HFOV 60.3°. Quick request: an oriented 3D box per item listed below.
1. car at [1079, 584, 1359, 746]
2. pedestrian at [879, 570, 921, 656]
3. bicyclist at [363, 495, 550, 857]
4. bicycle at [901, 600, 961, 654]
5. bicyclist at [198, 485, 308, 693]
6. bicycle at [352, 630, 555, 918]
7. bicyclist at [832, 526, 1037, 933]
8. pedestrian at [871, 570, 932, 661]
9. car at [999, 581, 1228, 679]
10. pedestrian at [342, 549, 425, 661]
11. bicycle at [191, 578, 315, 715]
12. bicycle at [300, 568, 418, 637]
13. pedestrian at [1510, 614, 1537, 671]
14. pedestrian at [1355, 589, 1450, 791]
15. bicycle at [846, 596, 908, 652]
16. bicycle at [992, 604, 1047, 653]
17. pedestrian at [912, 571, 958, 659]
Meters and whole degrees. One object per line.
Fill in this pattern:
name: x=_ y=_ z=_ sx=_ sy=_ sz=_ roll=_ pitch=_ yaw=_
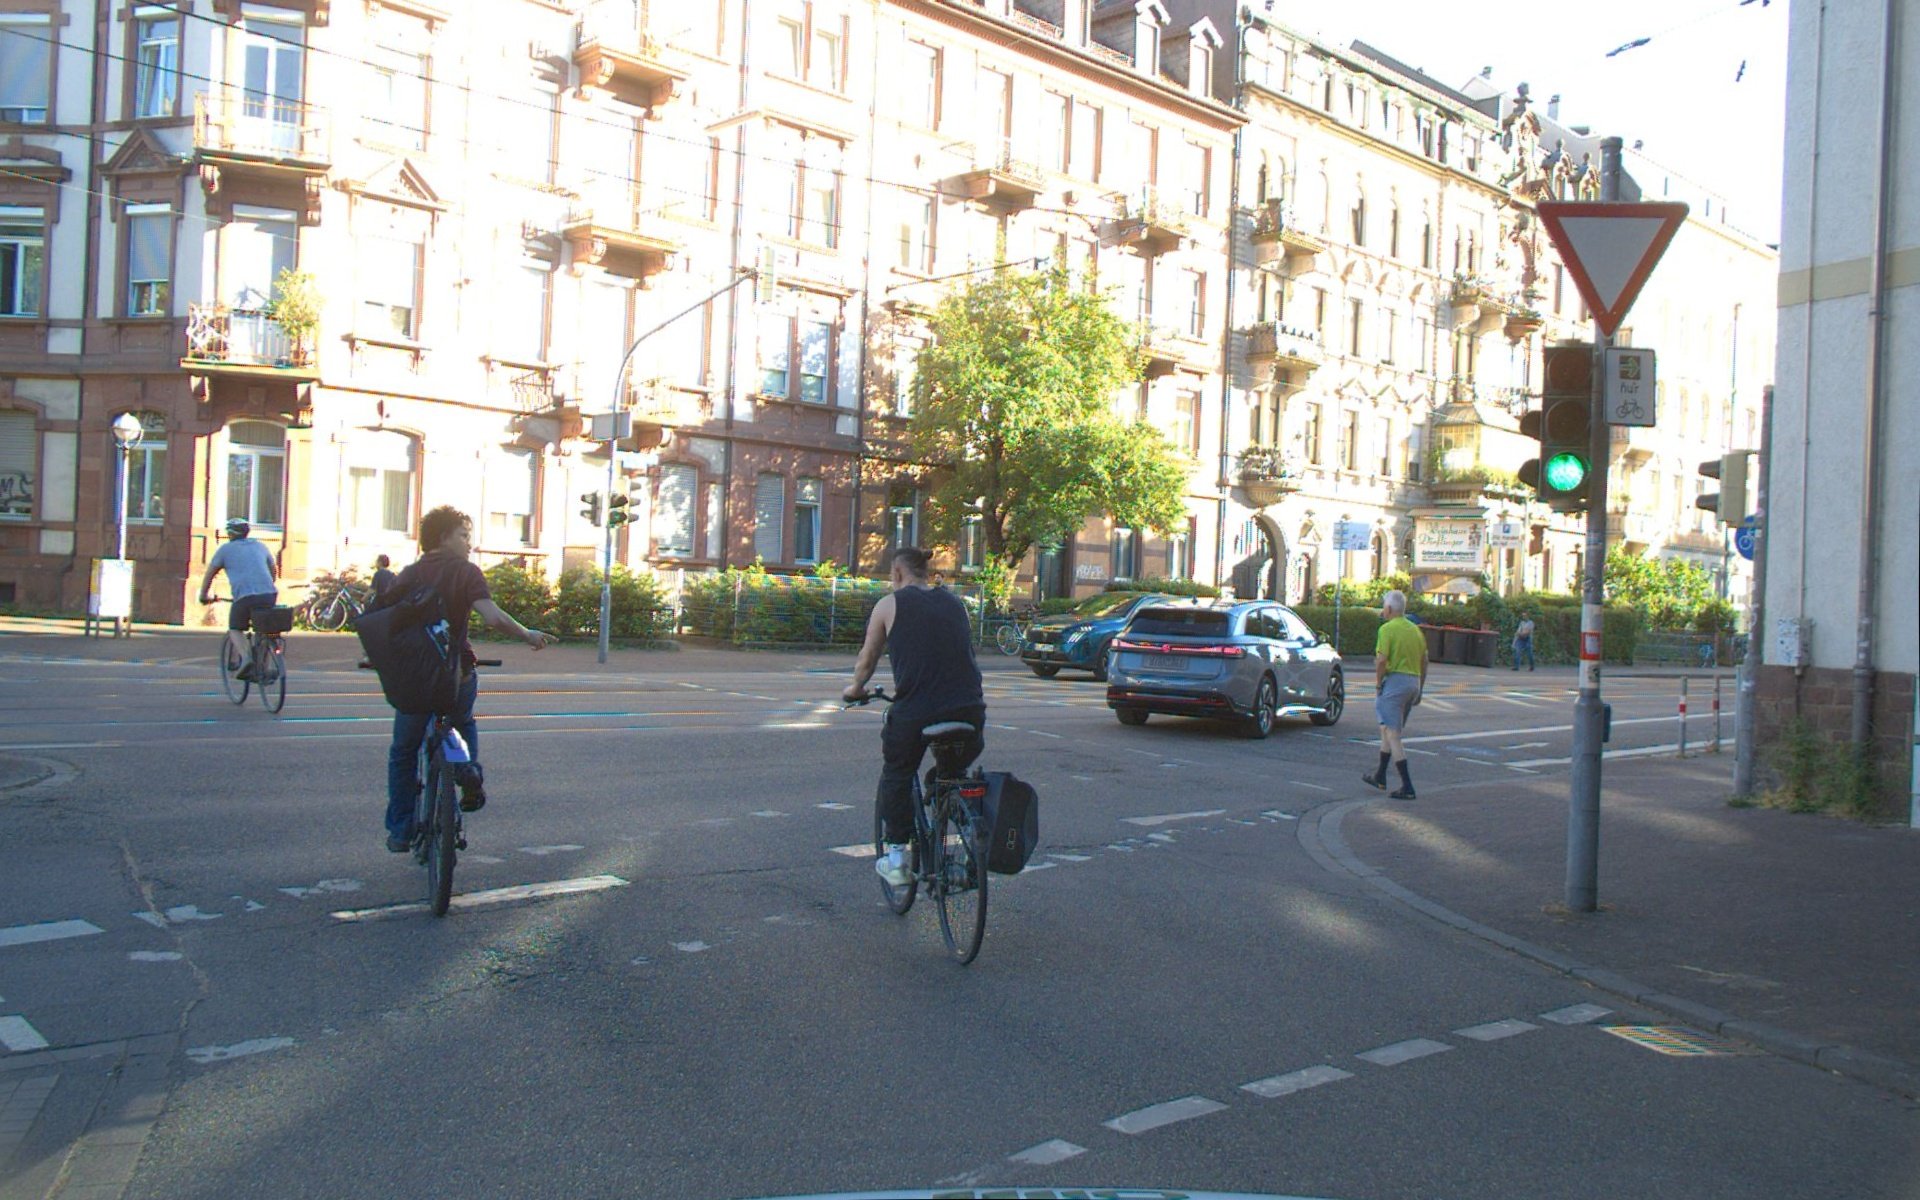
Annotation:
car: x=3.310 y=0.740 z=20.334 sx=1.933 sy=1.612 sz=4.468 roll=5 pitch=1 yaw=28
pedestrian: x=-1.227 y=0.265 z=33.987 sx=0.628 sy=1.745 sz=0.516 roll=3 pitch=0 yaw=-31
bicyclist: x=-2.415 y=0.341 z=7.877 sx=0.697 sy=1.601 sz=0.950 roll=3 pitch=0 yaw=-23
bicycle: x=-0.620 y=0.584 z=35.566 sx=1.221 sy=1.126 sz=0.437 roll=2 pitch=1 yaw=-39
bicyclist: x=-6.894 y=-0.106 z=16.112 sx=0.786 sy=1.946 sz=0.935 roll=3 pitch=0 yaw=-31
bicycle: x=-2.485 y=0.760 z=7.963 sx=0.707 sy=1.126 sz=1.953 roll=3 pitch=0 yaw=-23
bicyclist: x=-0.139 y=0.543 z=7.414 sx=0.675 sy=1.685 sz=0.986 roll=1 pitch=0 yaw=-15
pedestrian: x=-1.145 y=0.305 z=32.317 sx=0.884 sy=1.693 sz=0.706 roll=3 pitch=3 yaw=-27
car: x=2.970 y=0.586 z=31.447 sx=4.375 sy=1.678 sz=1.918 roll=3 pitch=0 yaw=-44
pedestrian: x=-9.076 y=0.074 z=26.036 sx=0.883 sy=1.663 sz=0.726 roll=4 pitch=1 yaw=15
bicycle: x=-6.915 y=0.423 z=16.105 sx=0.801 sy=1.205 sz=2.204 roll=3 pitch=0 yaw=-30
bicycle: x=-11.110 y=0.039 z=30.607 sx=1.925 sy=1.126 sz=0.442 roll=4 pitch=0 yaw=-10
pedestrian: x=16.876 y=1.268 z=49.547 sx=0.489 sy=1.669 sz=0.520 roll=2 pitch=0 yaw=-33
pedestrian: x=3.967 y=0.784 z=14.866 sx=0.629 sy=1.758 sz=0.888 roll=0 pitch=0 yaw=1
bicycle: x=-1.733 y=0.498 z=34.704 sx=1.221 sy=1.126 sz=0.437 roll=2 pitch=1 yaw=-39
bicycle: x=1.342 y=0.652 z=37.244 sx=1.221 sy=1.056 sz=0.437 roll=2 pitch=1 yaw=-40
pedestrian: x=-0.501 y=0.300 z=33.590 sx=0.628 sy=1.745 sz=0.657 roll=3 pitch=0 yaw=-31
